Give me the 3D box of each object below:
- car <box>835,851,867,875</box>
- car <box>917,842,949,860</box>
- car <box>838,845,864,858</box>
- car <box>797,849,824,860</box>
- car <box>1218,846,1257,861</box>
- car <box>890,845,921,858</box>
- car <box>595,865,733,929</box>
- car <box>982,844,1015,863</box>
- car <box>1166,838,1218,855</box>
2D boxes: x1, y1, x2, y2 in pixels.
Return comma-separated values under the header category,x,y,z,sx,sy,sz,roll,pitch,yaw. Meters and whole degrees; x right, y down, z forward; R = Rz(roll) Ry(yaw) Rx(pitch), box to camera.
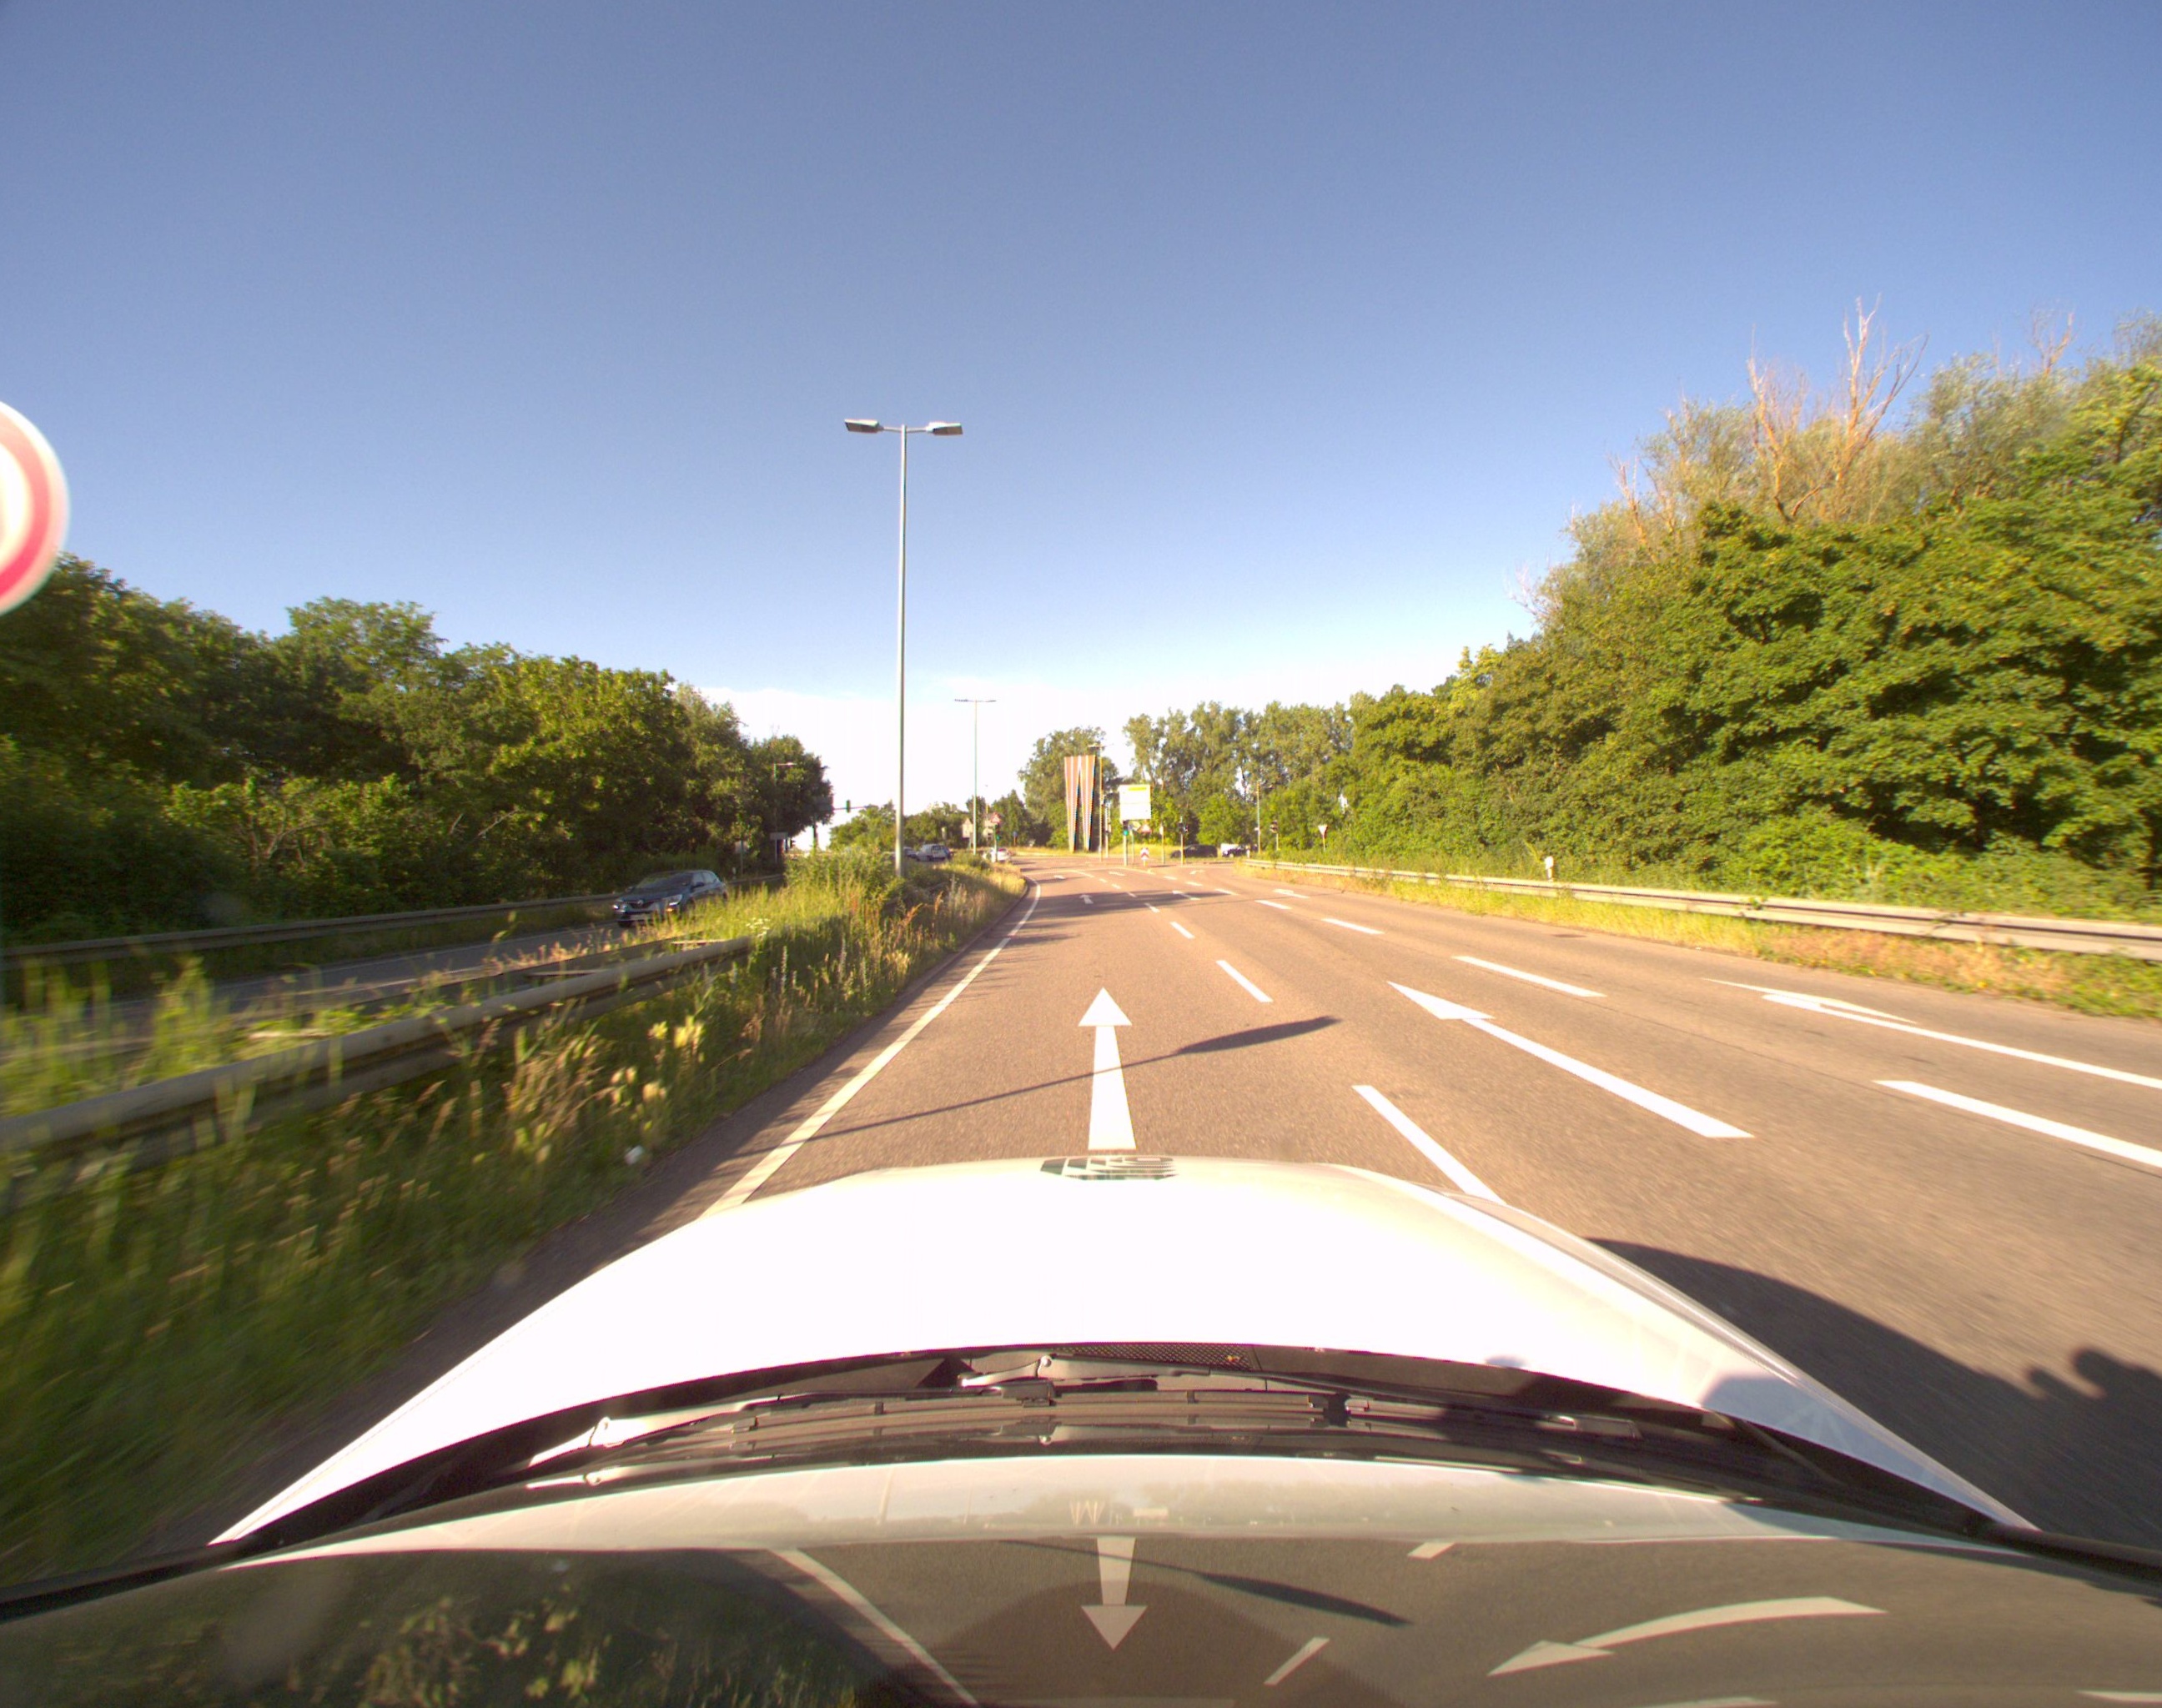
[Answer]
category,x,y,z,sx,sy,sz,roll,pitch,yaw
car,-15.942,0.568,56.555,1.888,1.520,4.198,-3,1,-13
car,-16.461,-0.365,90.386,2.007,1.879,4.207,-2,1,-31
car,-31.008,-0.331,109.664,1.985,1.698,3.954,-3,2,-39
car,-41.388,0.087,124.490,3.950,1.508,2.287,-1,0,44
car,16.220,-0.065,84.270,3.681,1.387,1.609,-2,0,-2
car,-22.355,-0.311,103.421,1.987,1.474,4.104,-3,2,-43
car,-11.410,1.100,22.658,1.883,1.420,4.355,-4,0,-6
car,-7.519,-0.056,73.965,2.000,1.640,4.100,-2,1,-20
car,10.378,-0.750,76.393,4.454,1.464,1.995,-1,1,-8
